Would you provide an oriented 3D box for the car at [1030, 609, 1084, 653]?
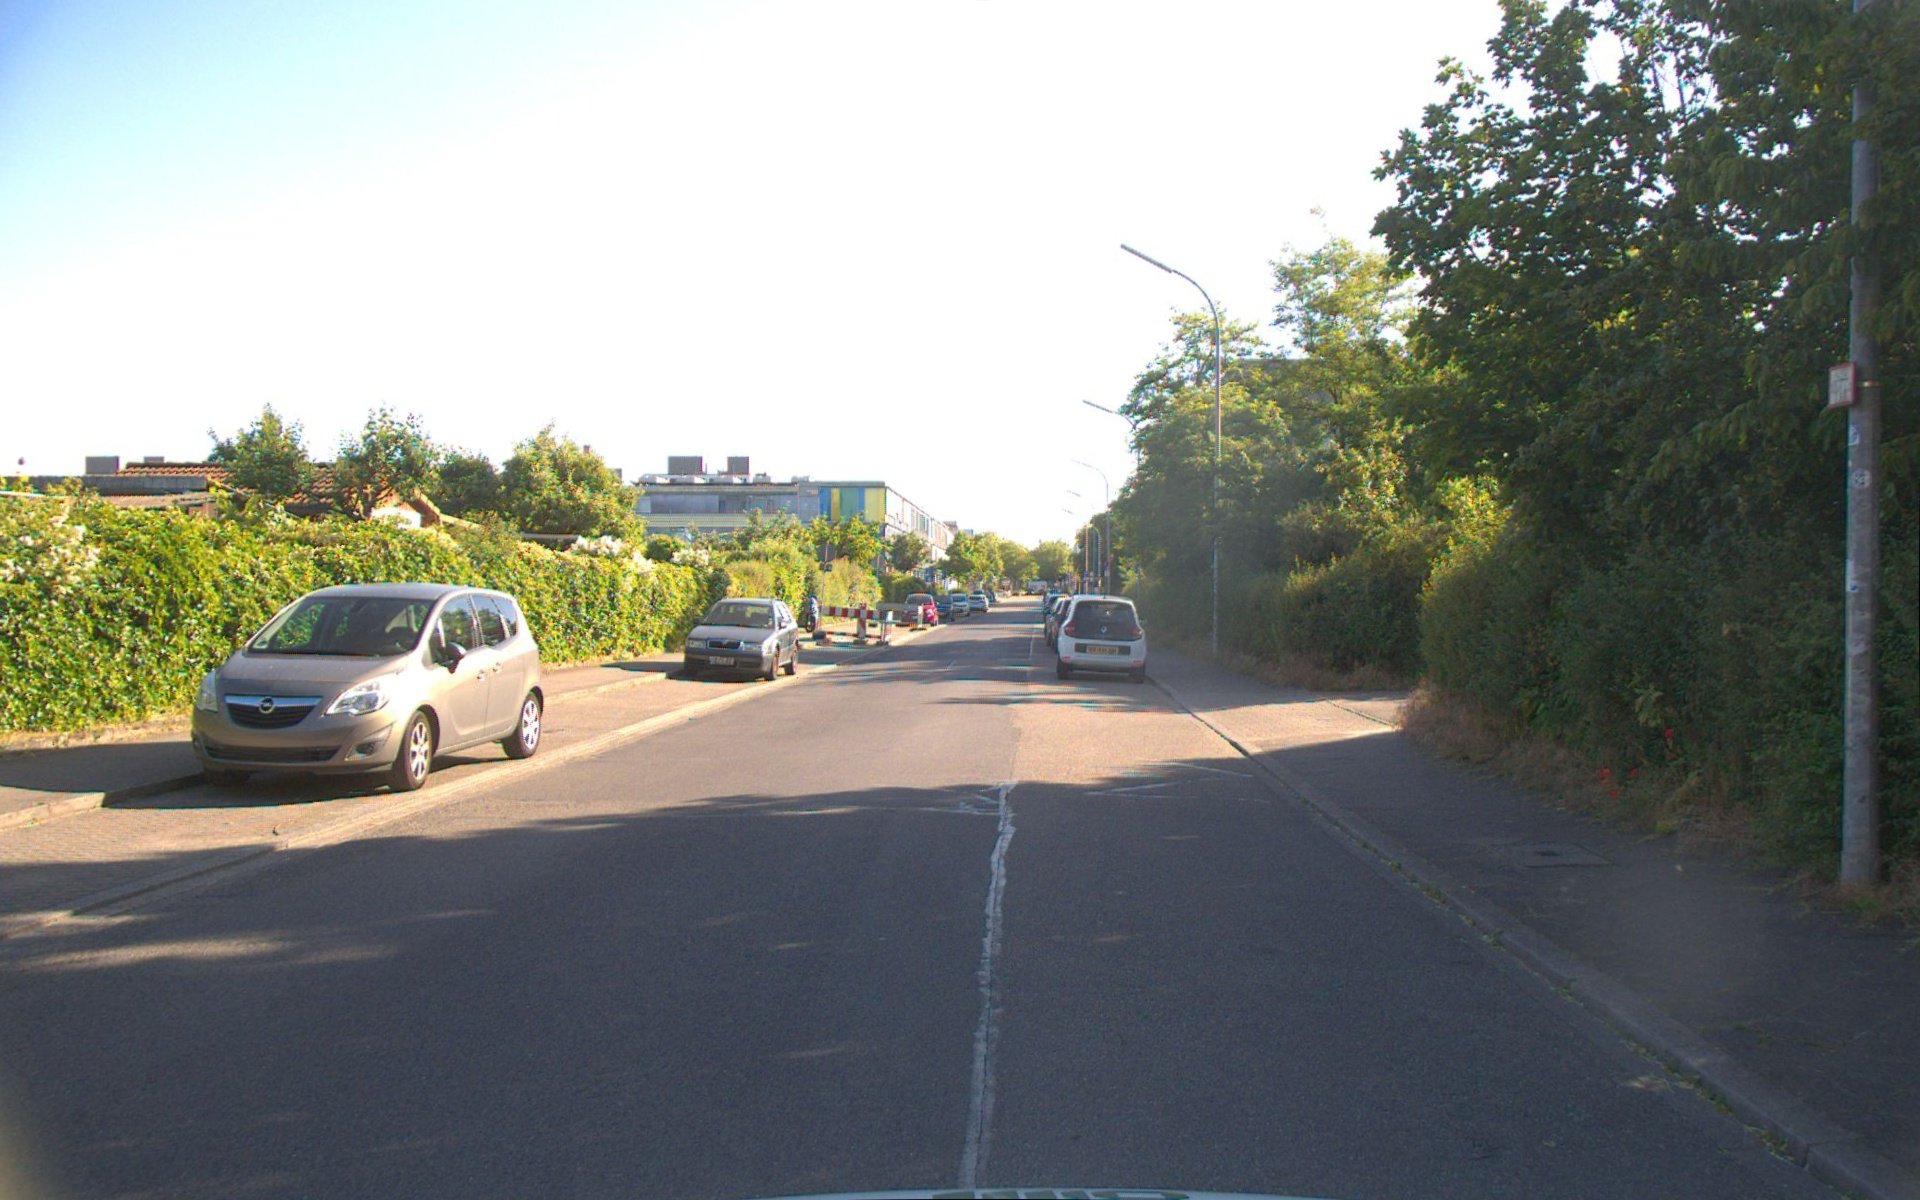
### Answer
[{"bbox_3d":[3.487,1.094,60.042,1.717,1.438,4.657,3,0,1],"label":"car"}]

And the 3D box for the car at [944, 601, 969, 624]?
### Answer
[{"bbox_3d":[-0.216,0.860,113.902,1.527,1.521,3.759,0,0,3],"label":"car"}]

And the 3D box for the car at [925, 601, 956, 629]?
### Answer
[{"bbox_3d":[-1.104,0.845,96.844,1.527,1.521,3.571,3,0,3],"label":"car"}]

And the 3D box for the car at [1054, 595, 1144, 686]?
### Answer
[{"bbox_3d":[2.617,0.738,31.738,1.523,1.565,3.557,3,0,3],"label":"car"}]

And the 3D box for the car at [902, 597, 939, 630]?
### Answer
[{"bbox_3d":[-1.847,0.648,78.392,1.527,1.521,3.571,0,0,3],"label":"car"}]

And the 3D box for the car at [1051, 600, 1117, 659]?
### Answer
[{"bbox_3d":[3.451,0.809,46.482,1.620,1.512,3.840,3,0,2],"label":"car"}]

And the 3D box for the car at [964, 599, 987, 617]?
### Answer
[{"bbox_3d":[1.340,0.655,143.176,1.816,1.453,4.135,2,0,3],"label":"car"}]

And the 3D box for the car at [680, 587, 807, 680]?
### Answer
[{"bbox_3d":[-4.094,0.611,31.903,1.609,1.583,4.419,3,0,3],"label":"car"}]

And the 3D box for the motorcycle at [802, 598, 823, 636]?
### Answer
[{"bbox_3d":[-5.149,0.582,57.805,0.555,1.290,2.090,2,-1,-1],"label":"motorcycle"}]

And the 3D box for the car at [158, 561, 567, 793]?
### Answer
[{"bbox_3d":[-4.882,0.567,14.231,1.609,1.628,4.314,2,0,5],"label":"car"}]

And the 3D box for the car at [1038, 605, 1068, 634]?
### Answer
[{"bbox_3d":[5.342,1.125,94.630,1.589,1.553,3.903,3,0,4],"label":"car"}]
